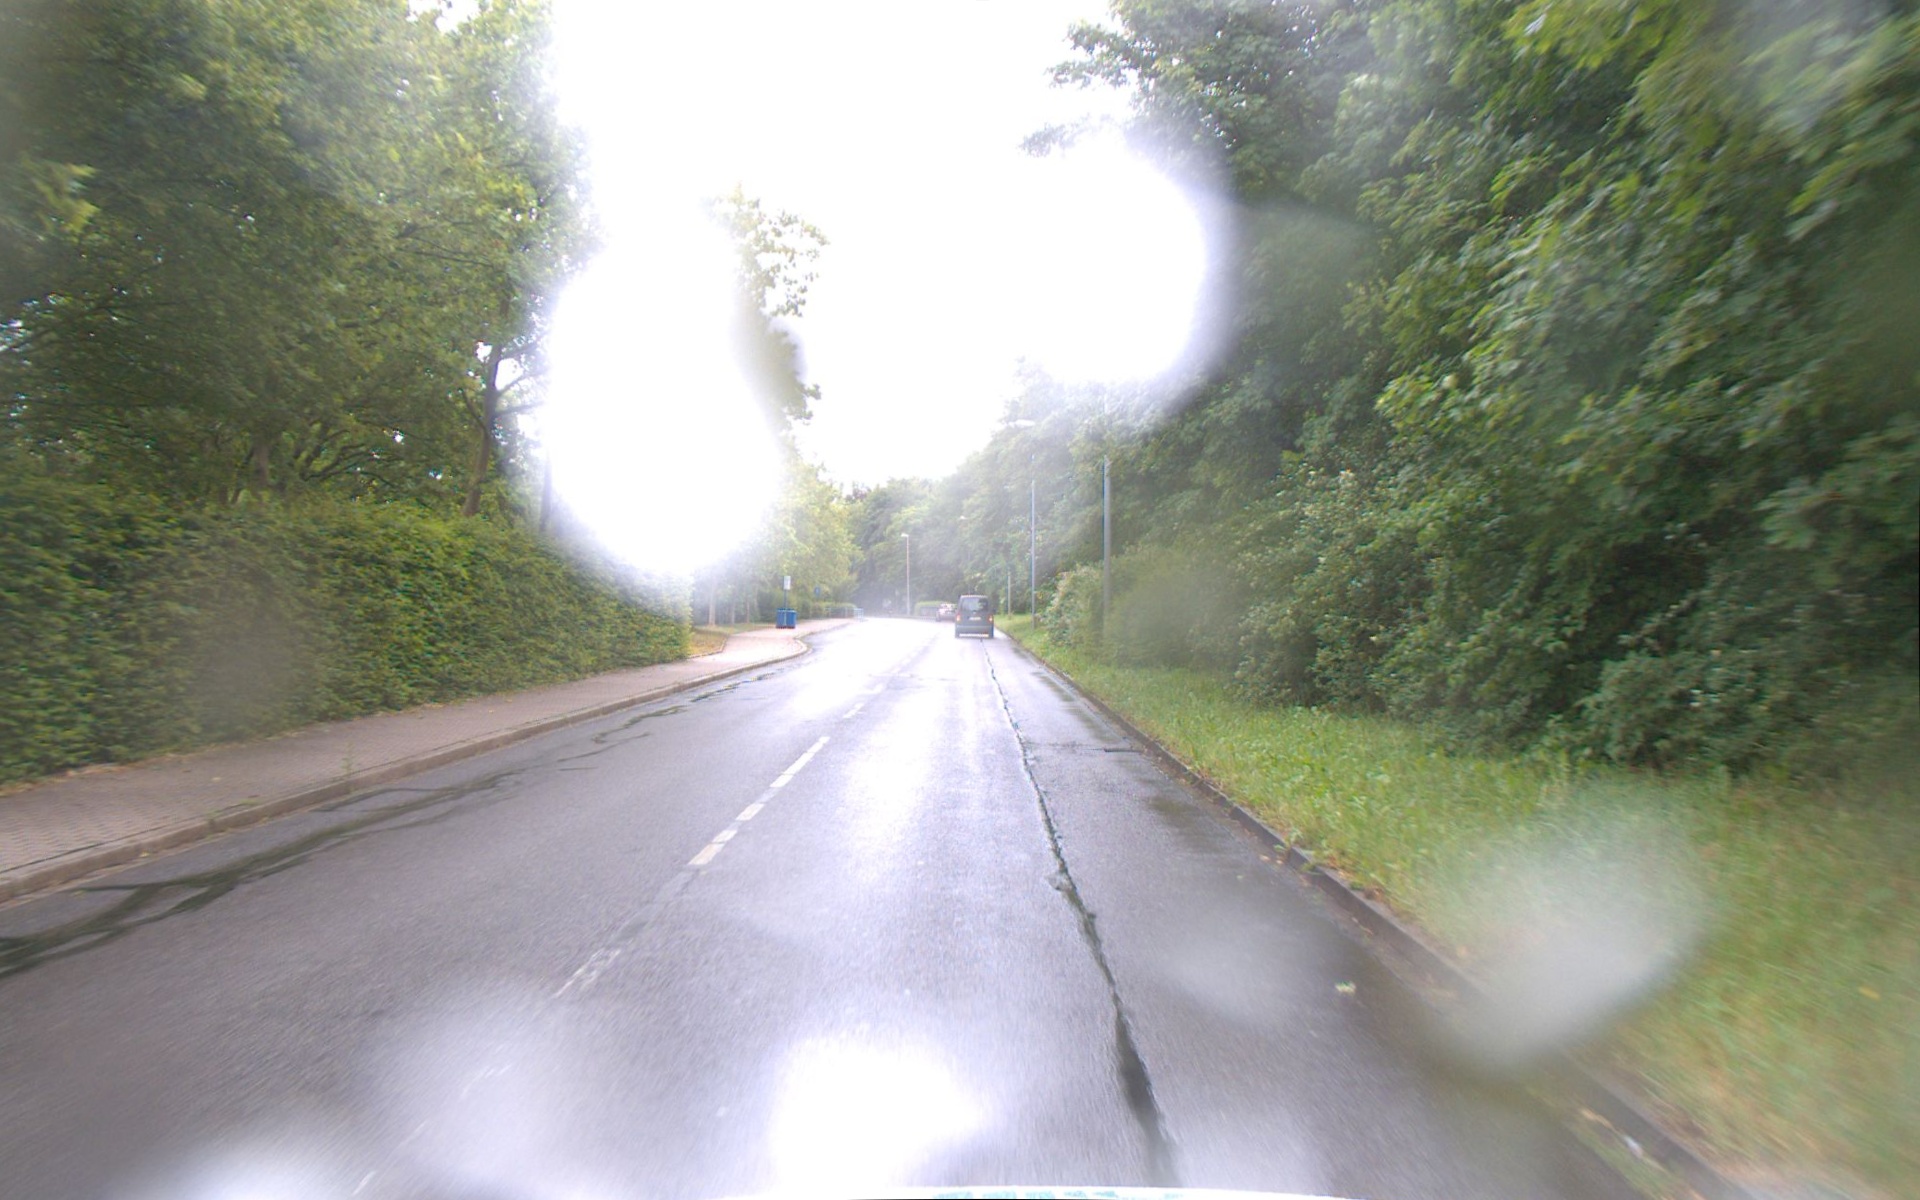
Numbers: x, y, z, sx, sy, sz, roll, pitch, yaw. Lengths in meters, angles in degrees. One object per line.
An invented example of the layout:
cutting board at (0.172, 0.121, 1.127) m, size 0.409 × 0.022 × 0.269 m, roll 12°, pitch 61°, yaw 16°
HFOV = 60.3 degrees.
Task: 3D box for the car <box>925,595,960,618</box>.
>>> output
car at (-1.482, 0.521, 138.135) m, size 1.960 × 1.803 × 3.984 m, roll -1°, pitch 0°, yaw -15°

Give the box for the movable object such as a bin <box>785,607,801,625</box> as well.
movable object such as a bin at (-10.158, 0.989, 100.495) m, size 0.659 × 1.044 × 0.826 m, roll -2°, pitch 0°, yaw -31°

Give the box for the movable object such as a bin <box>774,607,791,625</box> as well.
movable object such as a bin at (-10.749, 0.963, 100.126) m, size 0.659 × 1.044 × 0.826 m, roll -2°, pitch 0°, yaw -31°

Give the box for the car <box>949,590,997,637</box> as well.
car at (0.547, 0.581, 73.597) m, size 1.953 × 1.824 × 4.000 m, roll 3°, pitch 2°, yaw -1°

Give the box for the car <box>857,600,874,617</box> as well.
car at (-11.630, 1.014, 204.121) m, size 1.953 × 2.049 × 3.999 m, roll 3°, pitch 0°, yaw -2°
